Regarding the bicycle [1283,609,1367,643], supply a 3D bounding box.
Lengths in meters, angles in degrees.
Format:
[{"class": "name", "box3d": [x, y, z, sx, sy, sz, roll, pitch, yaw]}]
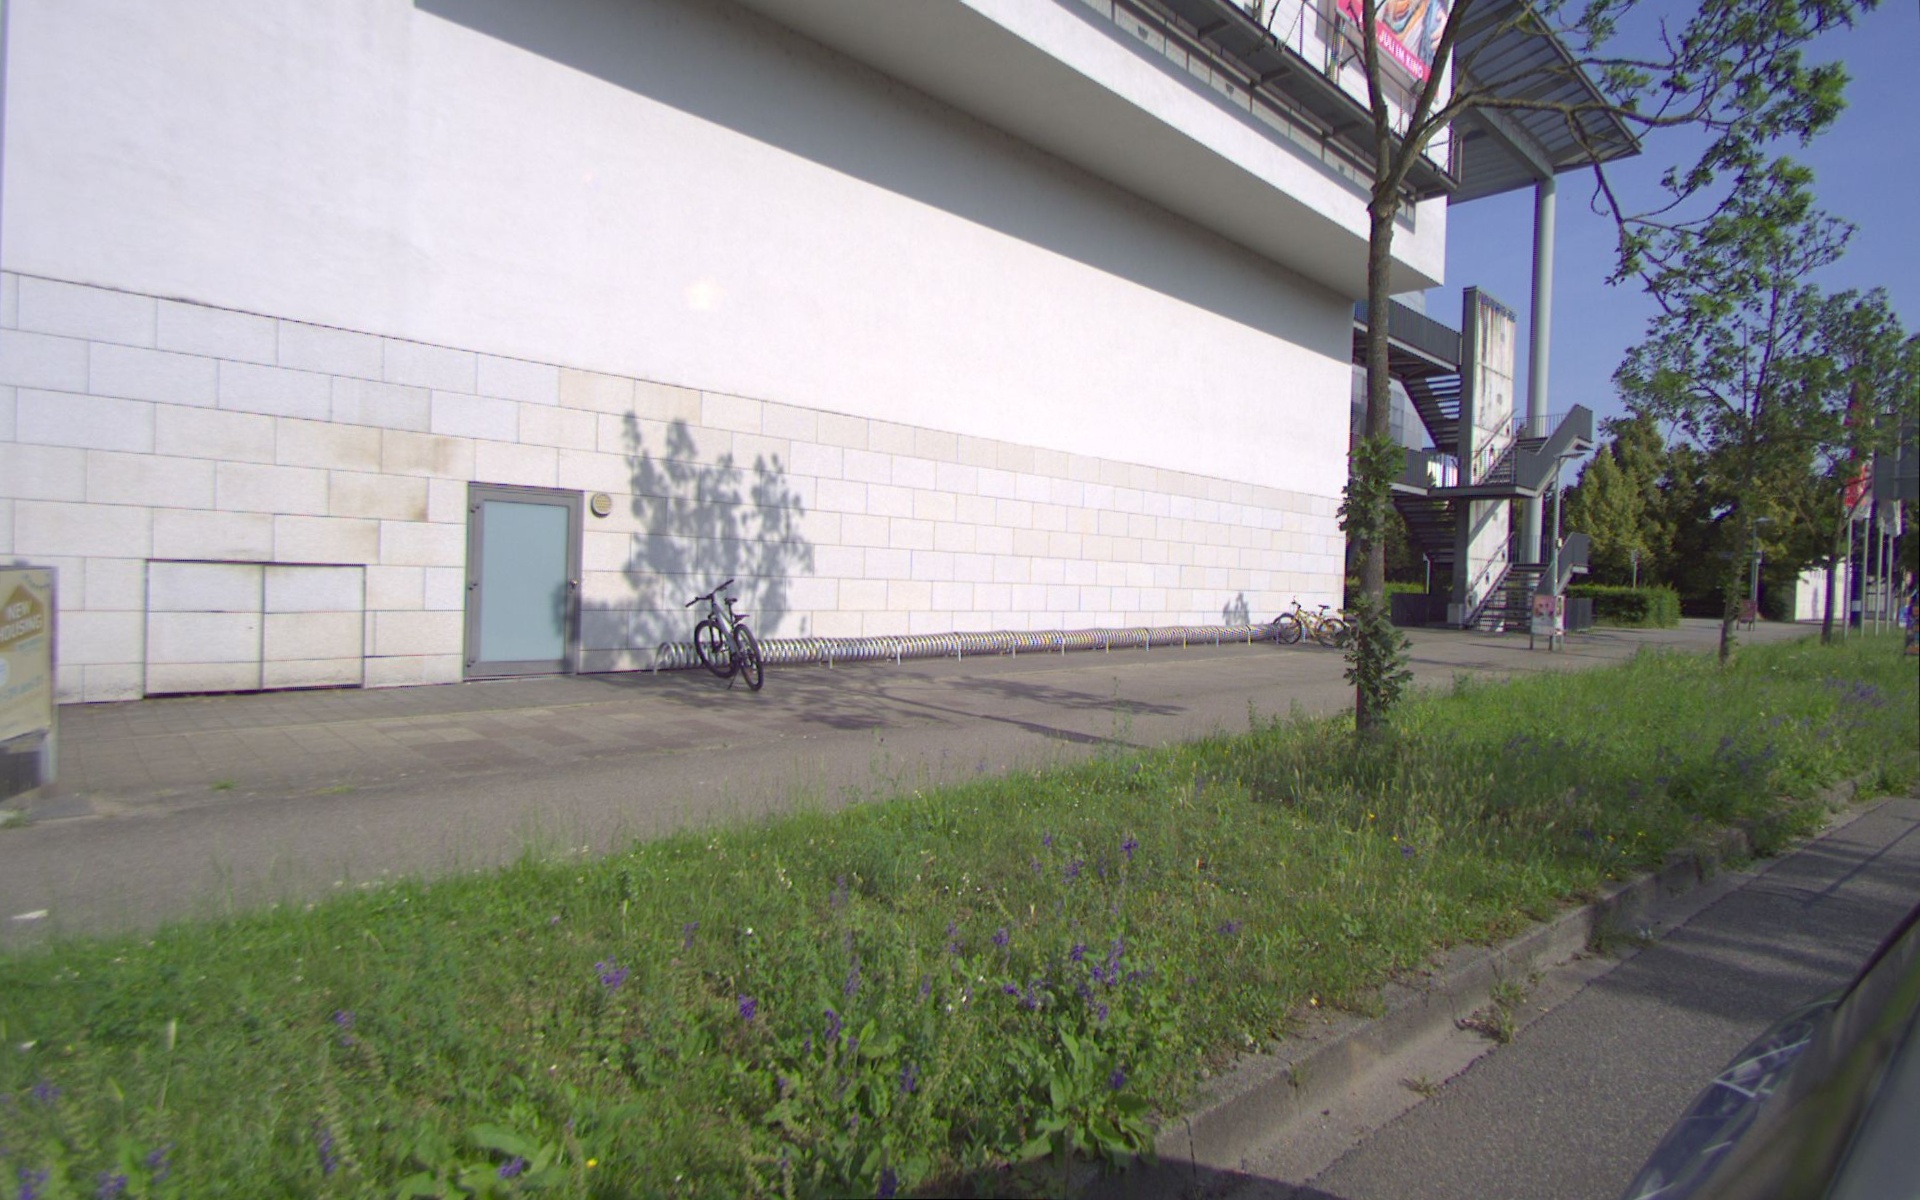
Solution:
[{"class": "bicycle", "box3d": [7.944, 0.553, 22.059, 0.529, 0.653, 1.660, 1, 2, -42]}]

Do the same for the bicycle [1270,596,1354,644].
[{"class": "bicycle", "box3d": [7.484, 0.400, 21.582, 0.474, 0.926, 1.660, 1, 2, -42]}]

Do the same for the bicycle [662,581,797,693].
[{"class": "bicycle", "box3d": [-2.630, 0.366, 11.360, 0.663, 1.116, 2.014, 1, 1, -38]}]
